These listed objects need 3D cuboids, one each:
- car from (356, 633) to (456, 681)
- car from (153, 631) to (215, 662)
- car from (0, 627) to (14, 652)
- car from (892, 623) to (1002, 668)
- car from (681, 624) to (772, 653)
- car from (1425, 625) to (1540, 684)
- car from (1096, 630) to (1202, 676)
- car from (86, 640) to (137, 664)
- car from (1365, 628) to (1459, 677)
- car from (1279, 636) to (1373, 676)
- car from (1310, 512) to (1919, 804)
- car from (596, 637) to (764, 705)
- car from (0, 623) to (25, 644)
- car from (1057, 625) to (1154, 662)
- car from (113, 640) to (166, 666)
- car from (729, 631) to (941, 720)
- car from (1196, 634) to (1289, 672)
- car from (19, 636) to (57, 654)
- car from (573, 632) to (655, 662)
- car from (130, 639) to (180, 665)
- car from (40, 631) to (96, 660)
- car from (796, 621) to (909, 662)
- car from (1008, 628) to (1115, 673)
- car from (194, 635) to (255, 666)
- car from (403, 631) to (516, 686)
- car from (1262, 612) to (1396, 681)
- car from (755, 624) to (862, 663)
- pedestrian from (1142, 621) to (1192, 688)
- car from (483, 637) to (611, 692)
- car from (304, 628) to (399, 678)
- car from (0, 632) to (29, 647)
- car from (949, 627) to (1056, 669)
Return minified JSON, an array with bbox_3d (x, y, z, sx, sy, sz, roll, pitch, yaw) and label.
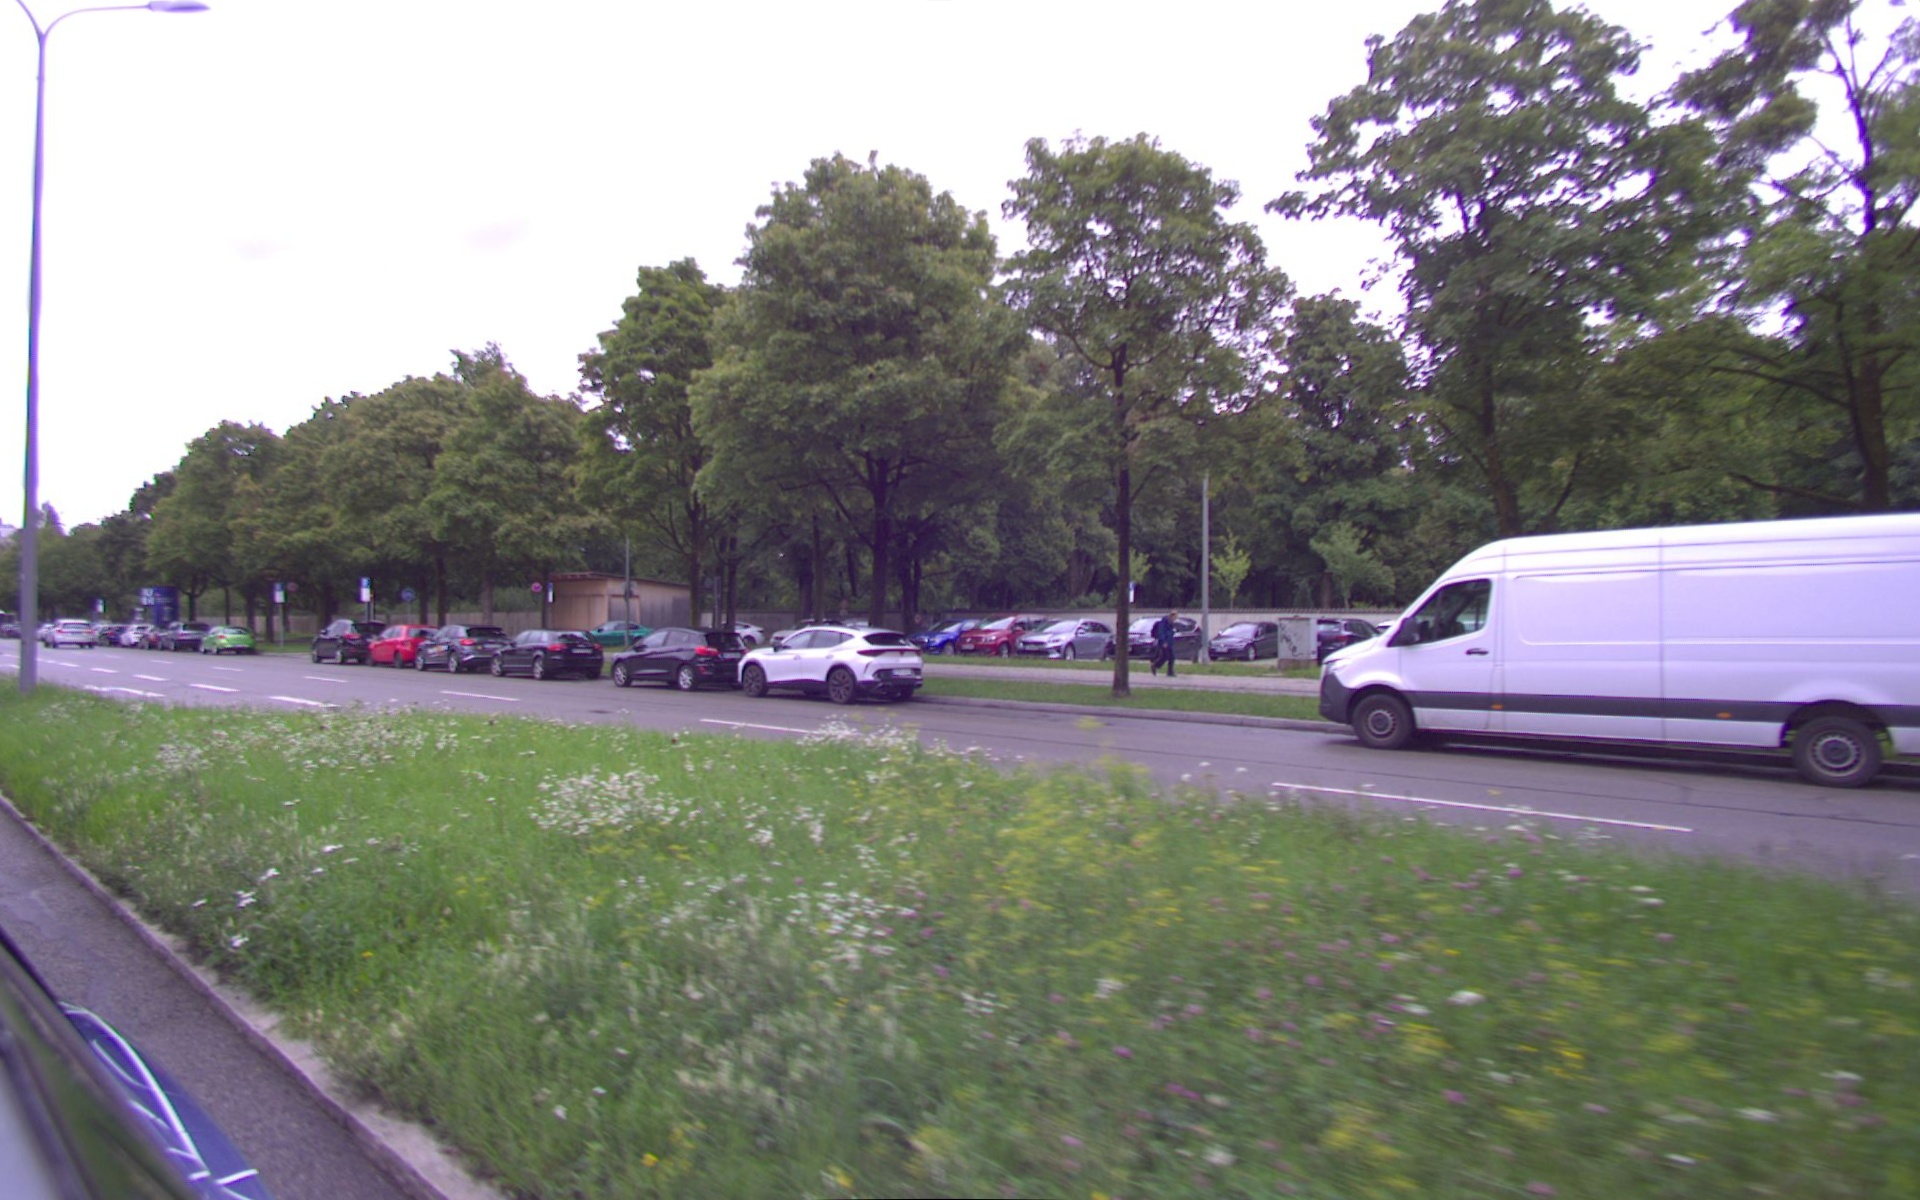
[{"bbox_3d":[-19.515,1.965,35.592,3.806,1.490,1.803,0,-1,40],"label":"car"},{"bbox_3d":[-42.588,2.522,55.541,4.454,1.643,1.802,-2,-3,41],"label":"car"},{"bbox_3d":[-102.018,4.190,107.188,4.495,2.611,1.974,-1,-3,39],"label":"car"},{"bbox_3d":[-0.407,1.578,36.050,1.996,1.453,3.952,-1,-1,35],"label":"car"},{"bbox_3d":[-12.081,1.948,52.370,4.392,1.420,1.865,0,-1,-19],"label":"car"},{"bbox_3d":[13.071,1.300,25.197,1.812,1.349,3.948,-1,-2,38],"label":"car"},{"bbox_3d":[5.739,1.553,30.408,1.685,1.268,3.954,-1,-2,34],"label":"car"},{"bbox_3d":[-55.548,3.380,66.249,3.783,1.457,1.804,-1,-4,39],"label":"car"},{"bbox_3d":[16.281,1.837,36.370,3.941,1.666,1.771,1,-2,-45],"label":"car"},{"bbox_3d":[13.956,2.096,38.508,3.941,1.383,1.879,1,-2,-45],"label":"car"},{"bbox_3d":[7.866,0.619,11.465,7.101,2.664,2.117,-2,-4,41],"label":"car"},{"bbox_3d":[-6.663,1.633,23.978,3.994,1.459,1.804,-1,-3,38],"label":"car"},{"bbox_3d":[-96.158,3.402,102.334,3.997,2.029,1.973,-1,-2,41],"label":"car"},{"bbox_3d":[6.212,1.811,42.806,1.998,1.453,4.460,-2,-2,40],"label":"car"},{"bbox_3d":[-50.783,3.257,62.604,4.258,1.488,1.802,-2,-4,42],"label":"car"},{"bbox_3d":[-2.597,1.448,20.502,4.295,1.539,1.803,0,-3,40],"label":"car"},{"bbox_3d":[11.354,2.076,40.507,3.941,1.383,1.879,1,-2,-45],"label":"car"},{"bbox_3d":[-76.944,3.723,84.421,4.037,1.454,1.695,-1,-3,39],"label":"car"},{"bbox_3d":[-17.296,2.333,50.681,3.793,1.420,1.865,0,-1,-19],"label":"car"},{"bbox_3d":[-47.171,3.039,59.303,3.685,1.433,1.632,-2,-4,42],"label":"car"},{"bbox_3d":[-52.342,2.667,59.373,4.400,1.612,1.831,-2,-4,41],"label":"car"},{"bbox_3d":[-4.037,1.538,38.569,1.997,1.453,4.095,-1,-2,38],"label":"car"},{"bbox_3d":[3.268,1.548,32.000,1.736,1.293,3.954,-1,-2,34],"label":"car"},{"bbox_3d":[-36.412,2.477,50.085,3.999,1.511,1.623,-2,-4,42],"label":"car"},{"bbox_3d":[-15.782,1.786,31.837,4.112,1.611,1.802,-1,-2,42],"label":"car"},{"bbox_3d":[9.367,1.122,25.515,1.814,1.582,3.944,-2,-2,42],"label":"car"},{"bbox_3d":[-6.067,1.726,40.809,1.998,1.453,3.946,-2,-2,40],"label":"car"},{"bbox_3d":[4.779,1.248,23.405,0.856,1.507,0.786,-2,-2,41],"label":"pedestrian"},{"bbox_3d":[-11.601,1.759,28.308,4.000,1.420,1.801,-2,-4,43],"label":"car"},{"bbox_3d":[-23.051,1.955,38.287,4.236,1.712,1.803,0,-1,40],"label":"car"},{"bbox_3d":[-92.661,3.898,99.058,4.037,1.420,1.695,-1,-3,39],"label":"car"},{"bbox_3d":[1.493,1.551,33.833,1.737,1.293,3.952,-1,-2,35],"label":"car"}]
